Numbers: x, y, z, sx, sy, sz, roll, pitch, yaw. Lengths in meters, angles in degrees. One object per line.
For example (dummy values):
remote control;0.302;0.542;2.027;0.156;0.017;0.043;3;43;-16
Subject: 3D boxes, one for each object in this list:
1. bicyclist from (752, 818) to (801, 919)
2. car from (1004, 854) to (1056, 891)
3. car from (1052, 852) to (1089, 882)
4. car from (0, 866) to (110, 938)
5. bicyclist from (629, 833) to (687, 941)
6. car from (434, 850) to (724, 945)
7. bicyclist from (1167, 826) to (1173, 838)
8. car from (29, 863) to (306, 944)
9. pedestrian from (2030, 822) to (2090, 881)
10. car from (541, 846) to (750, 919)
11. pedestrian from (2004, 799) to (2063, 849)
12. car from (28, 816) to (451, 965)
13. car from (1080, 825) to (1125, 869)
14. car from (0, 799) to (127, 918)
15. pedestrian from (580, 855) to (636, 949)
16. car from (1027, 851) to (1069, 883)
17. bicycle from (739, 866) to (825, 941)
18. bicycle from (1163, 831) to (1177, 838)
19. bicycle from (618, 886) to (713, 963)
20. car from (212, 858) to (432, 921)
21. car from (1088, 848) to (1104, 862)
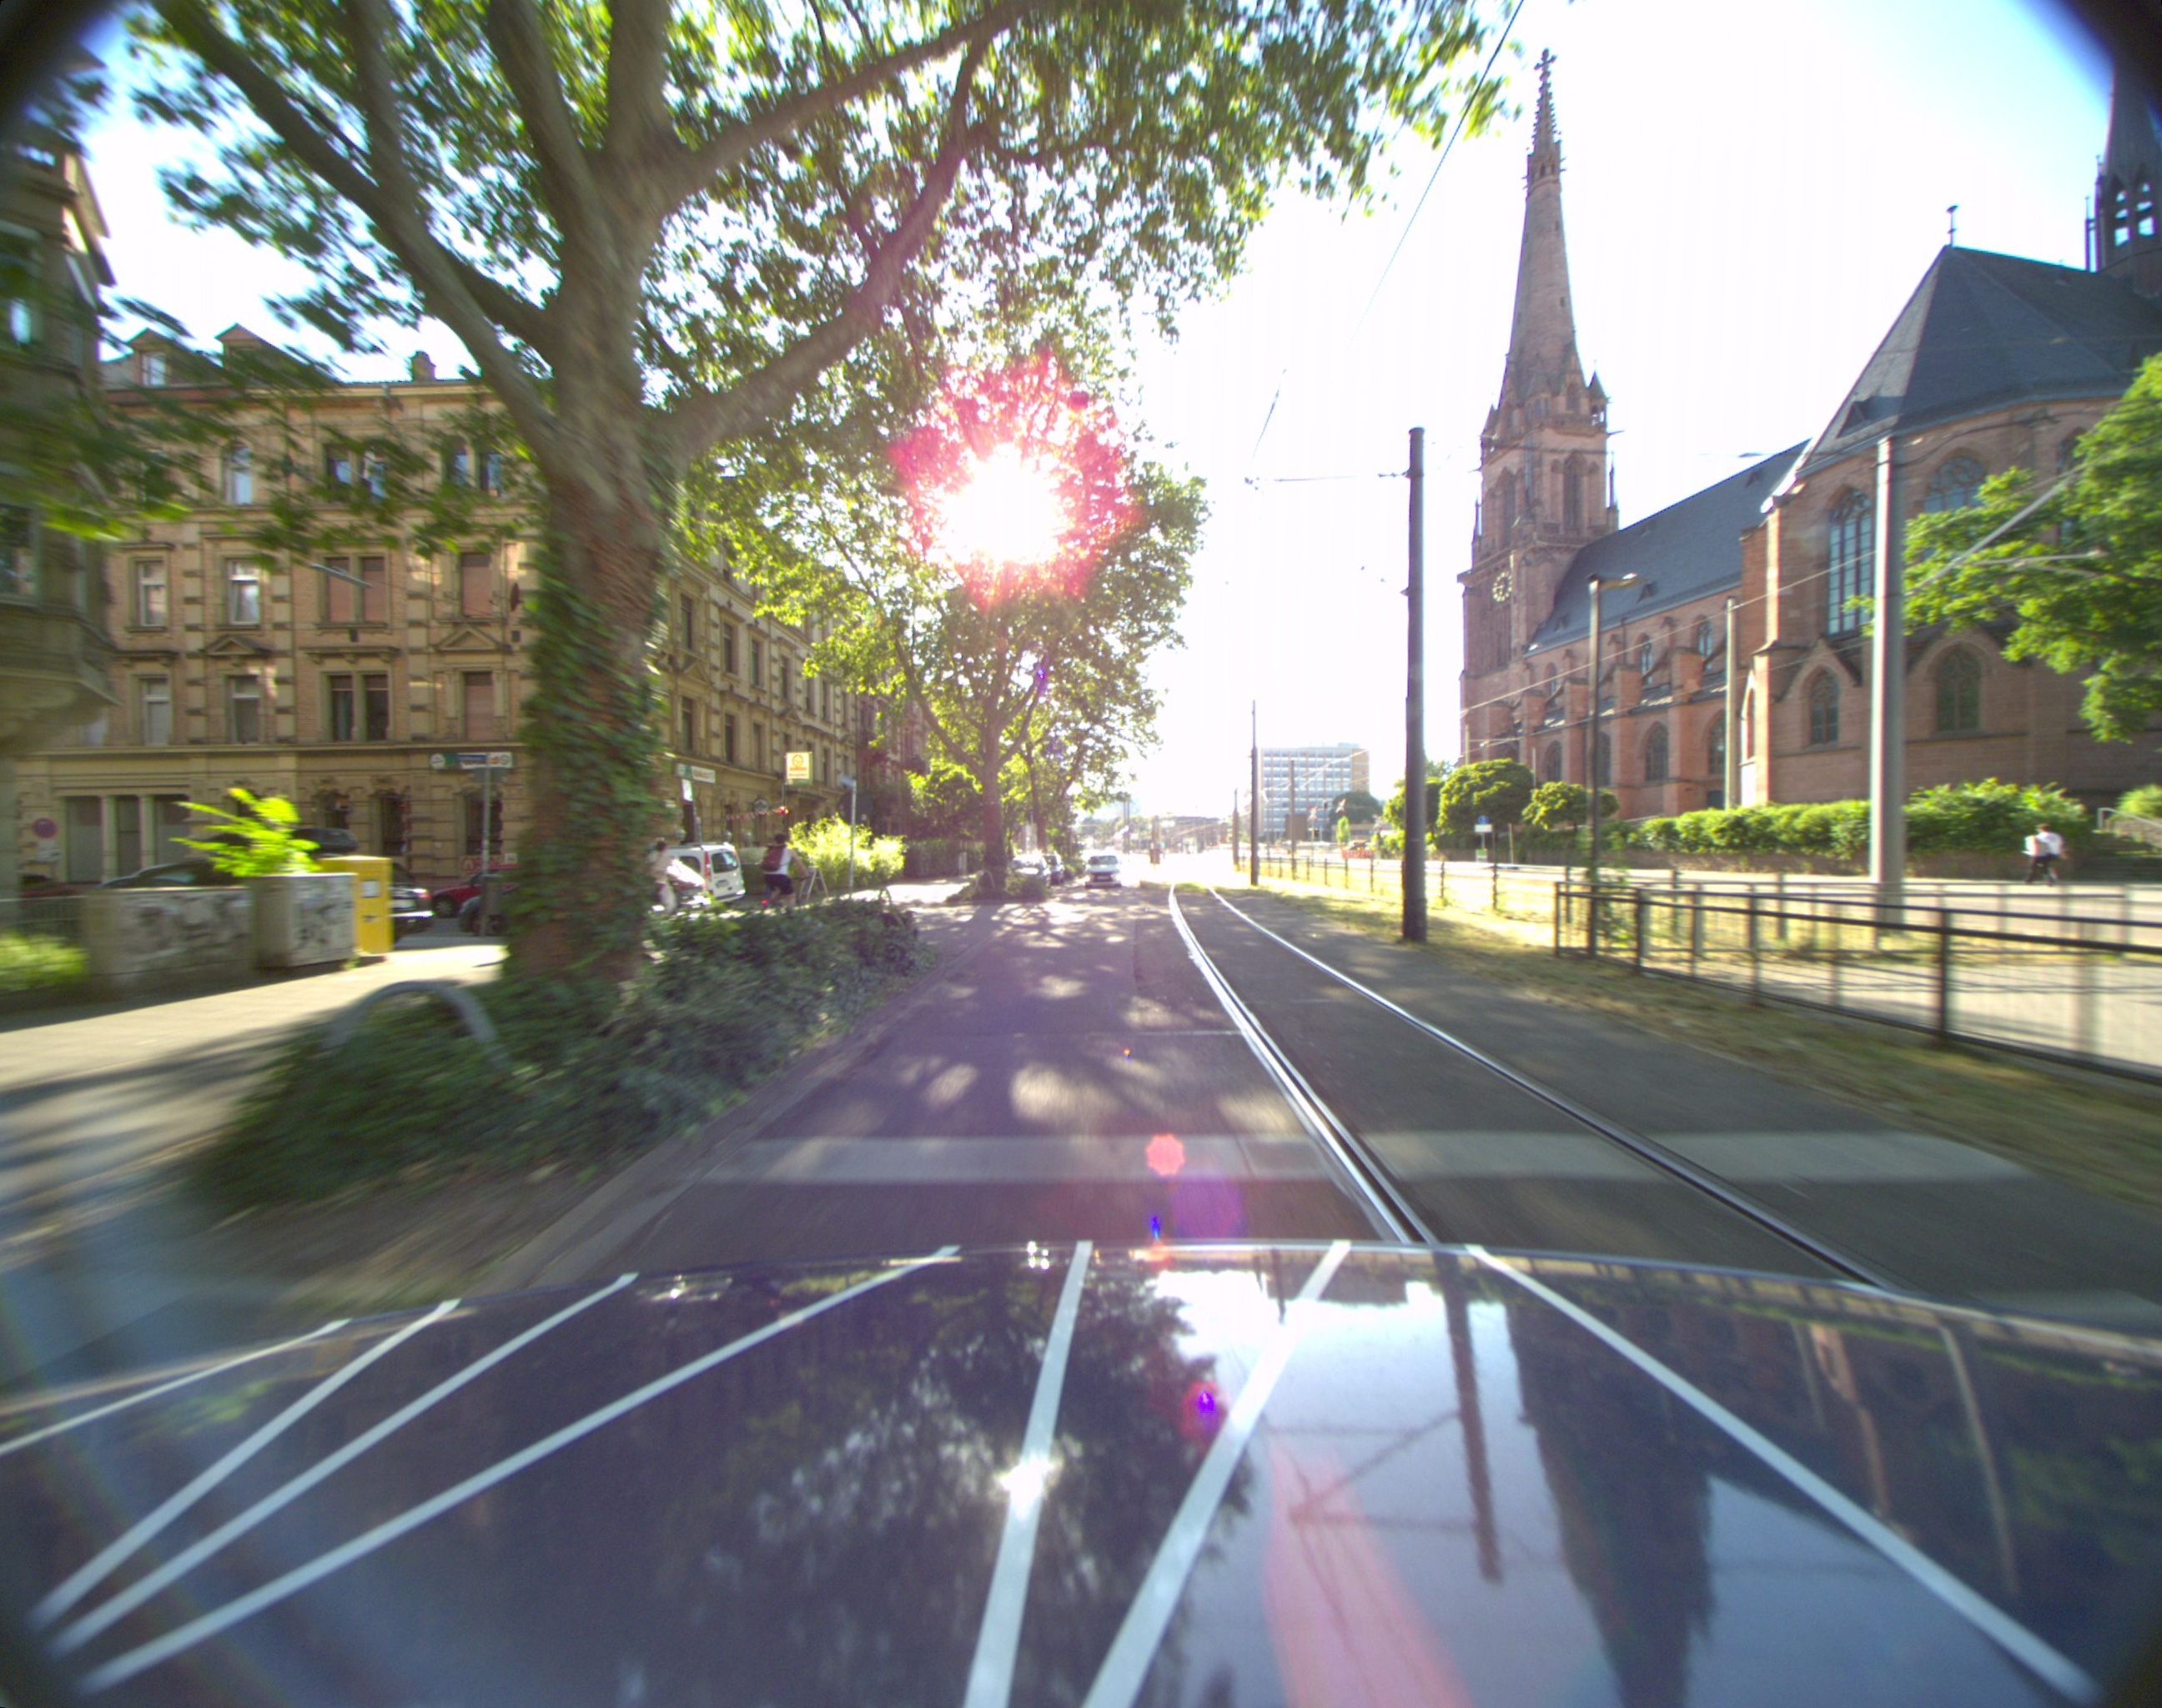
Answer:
bicyclist;-5.009;0.241;12.530;0.544;1.615;0.644;0;-1;1
car;-2.114;0.748;32.543;1.680;1.386;4.570;1;1;3
car;-0.576;0.770;44.836;1.823;1.605;4.002;-3;-1;3
car;-23.991;1.026;16.385;3.818;1.411;1.753;-1;1;1
bicyclist;-6.492;0.490;11.681;0.544;1.616;0.644;1;1;-5
car;-10.050;0.844;15.473;4.559;1.530;1.908;-3;-1;0
bicyclist;14.342;-3.550;122.641;0.775;1.861;0.611;-2;1;20
car;-19.002;1.000;15.924;3.817;1.535;1.754;-1;1;4
pedestrian;30.206;-0.082;23.454;0.587;1.774;0.946;-3;1;-1
car;-11.726;0.744;20.678;4.558;1.836;1.907;-1;1;2
pedestrian;29.404;-0.912;23.472;0.587;1.480;0.946;-3;1;-1
car;-12.239;0.540;11.314;3.997;2.001;2.001;0;-2;0
car;1.005;-0.324;33.701;1.823;1.729;4.000;-3;1;3
car;-30.478;0.146;21.358;4.886;3.183;1.907;-1;1;2
pedestrian;-7.957;0.792;12.794;0.540;1.540;0.607;0;-1;1
car;-1.624;0.614;38.994;1.679;1.507;4.723;1;1;3
bicycle;-5.004;0.793;12.878;0.562;1.171;2.226;0;-1;1
bicycle;14.408;-3.171;122.637;2.063;1.077;0.611;-3;1;20
bicycle;-6.481;1.060;11.973;0.562;1.031;1.932;1;0;-5
car;-20.881;0.946;21.026;4.180;1.553;1.907;-1;1;2
car;1.876;0.054;94.726;1.823;1.605;4.000;-3;1;2
